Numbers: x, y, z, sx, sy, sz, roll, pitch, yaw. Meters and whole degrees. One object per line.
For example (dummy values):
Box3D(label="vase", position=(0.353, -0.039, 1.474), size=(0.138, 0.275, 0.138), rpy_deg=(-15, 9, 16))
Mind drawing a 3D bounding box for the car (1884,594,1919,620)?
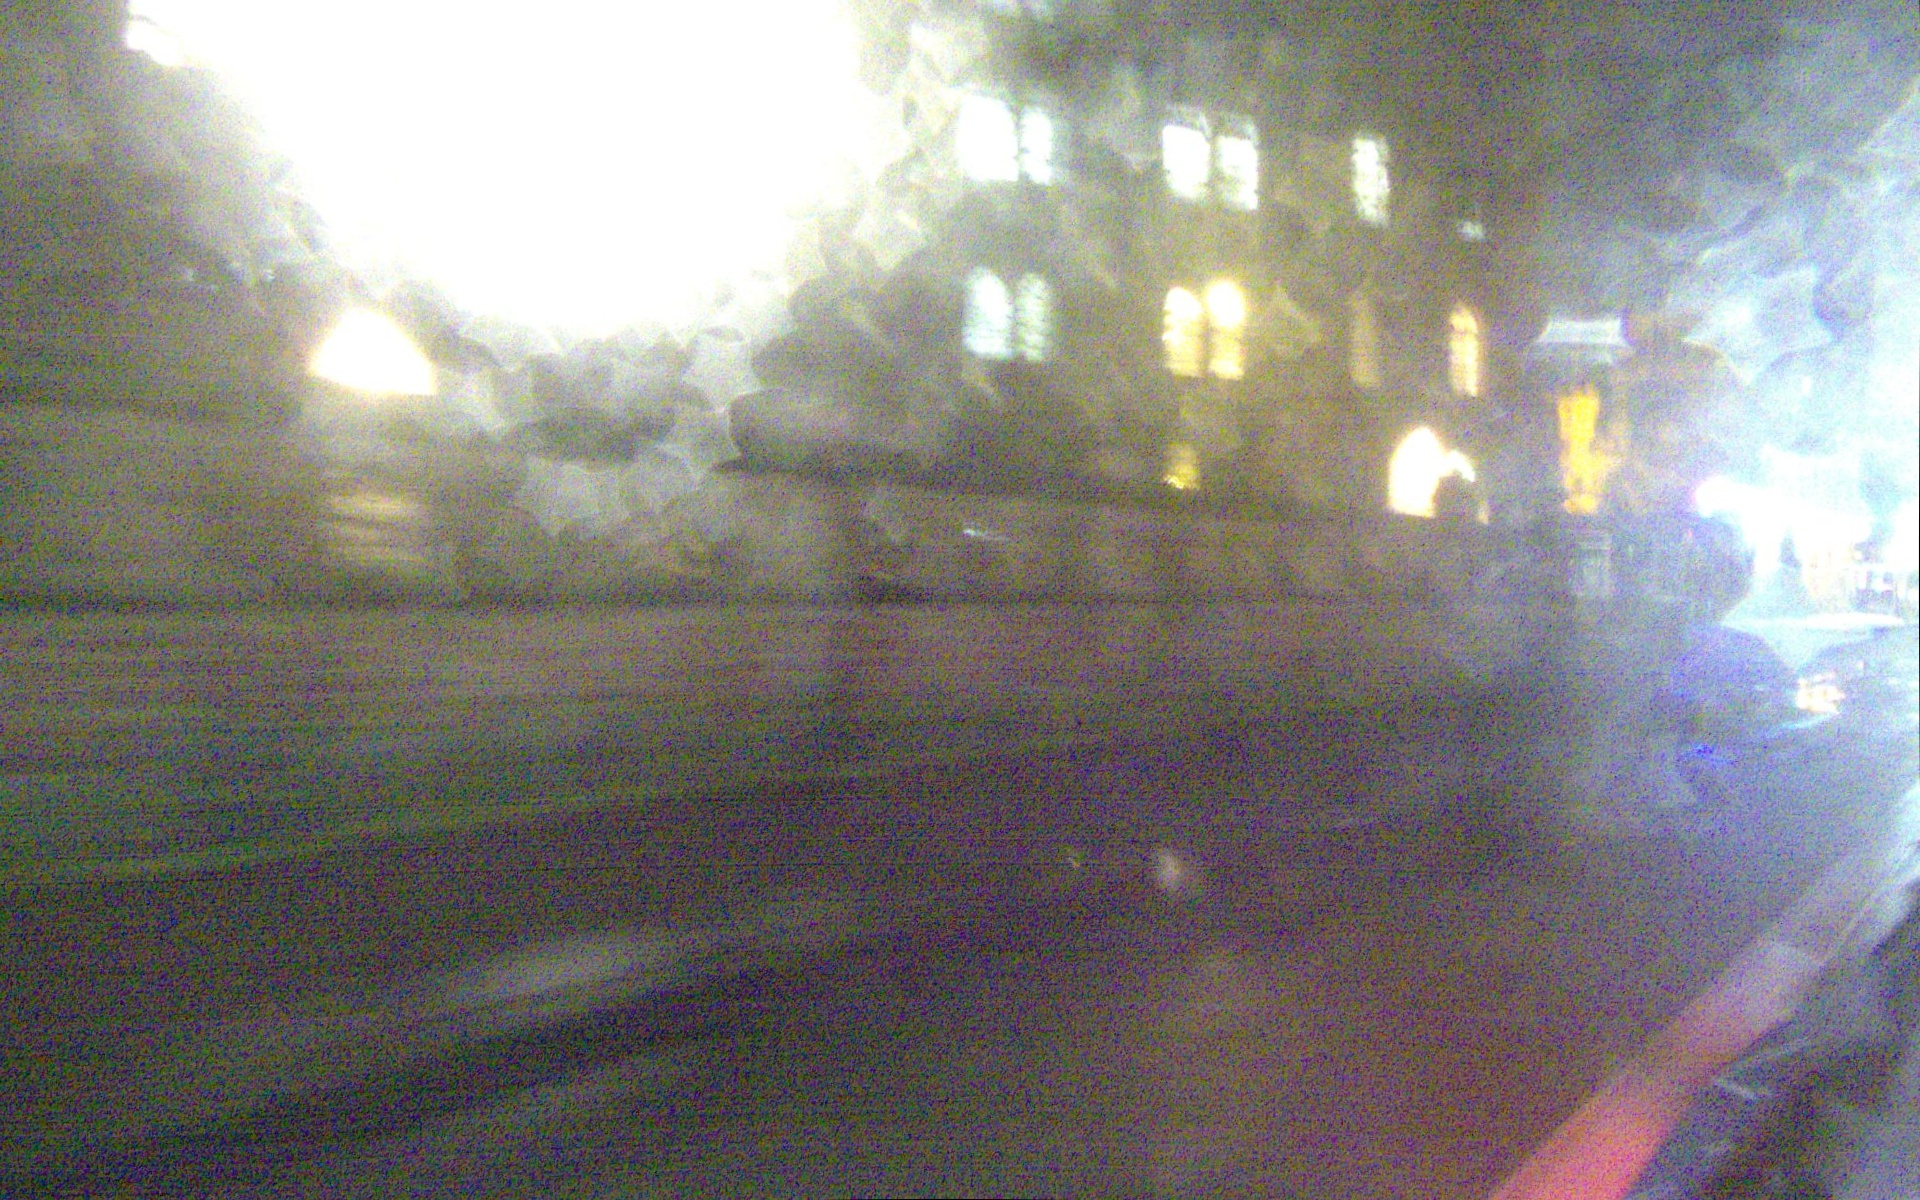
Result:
Box3D(label="car", position=(60.644, 0.448, 63.047), size=(4.063, 1.556, 1.944), rpy_deg=(1, 1, 25))
